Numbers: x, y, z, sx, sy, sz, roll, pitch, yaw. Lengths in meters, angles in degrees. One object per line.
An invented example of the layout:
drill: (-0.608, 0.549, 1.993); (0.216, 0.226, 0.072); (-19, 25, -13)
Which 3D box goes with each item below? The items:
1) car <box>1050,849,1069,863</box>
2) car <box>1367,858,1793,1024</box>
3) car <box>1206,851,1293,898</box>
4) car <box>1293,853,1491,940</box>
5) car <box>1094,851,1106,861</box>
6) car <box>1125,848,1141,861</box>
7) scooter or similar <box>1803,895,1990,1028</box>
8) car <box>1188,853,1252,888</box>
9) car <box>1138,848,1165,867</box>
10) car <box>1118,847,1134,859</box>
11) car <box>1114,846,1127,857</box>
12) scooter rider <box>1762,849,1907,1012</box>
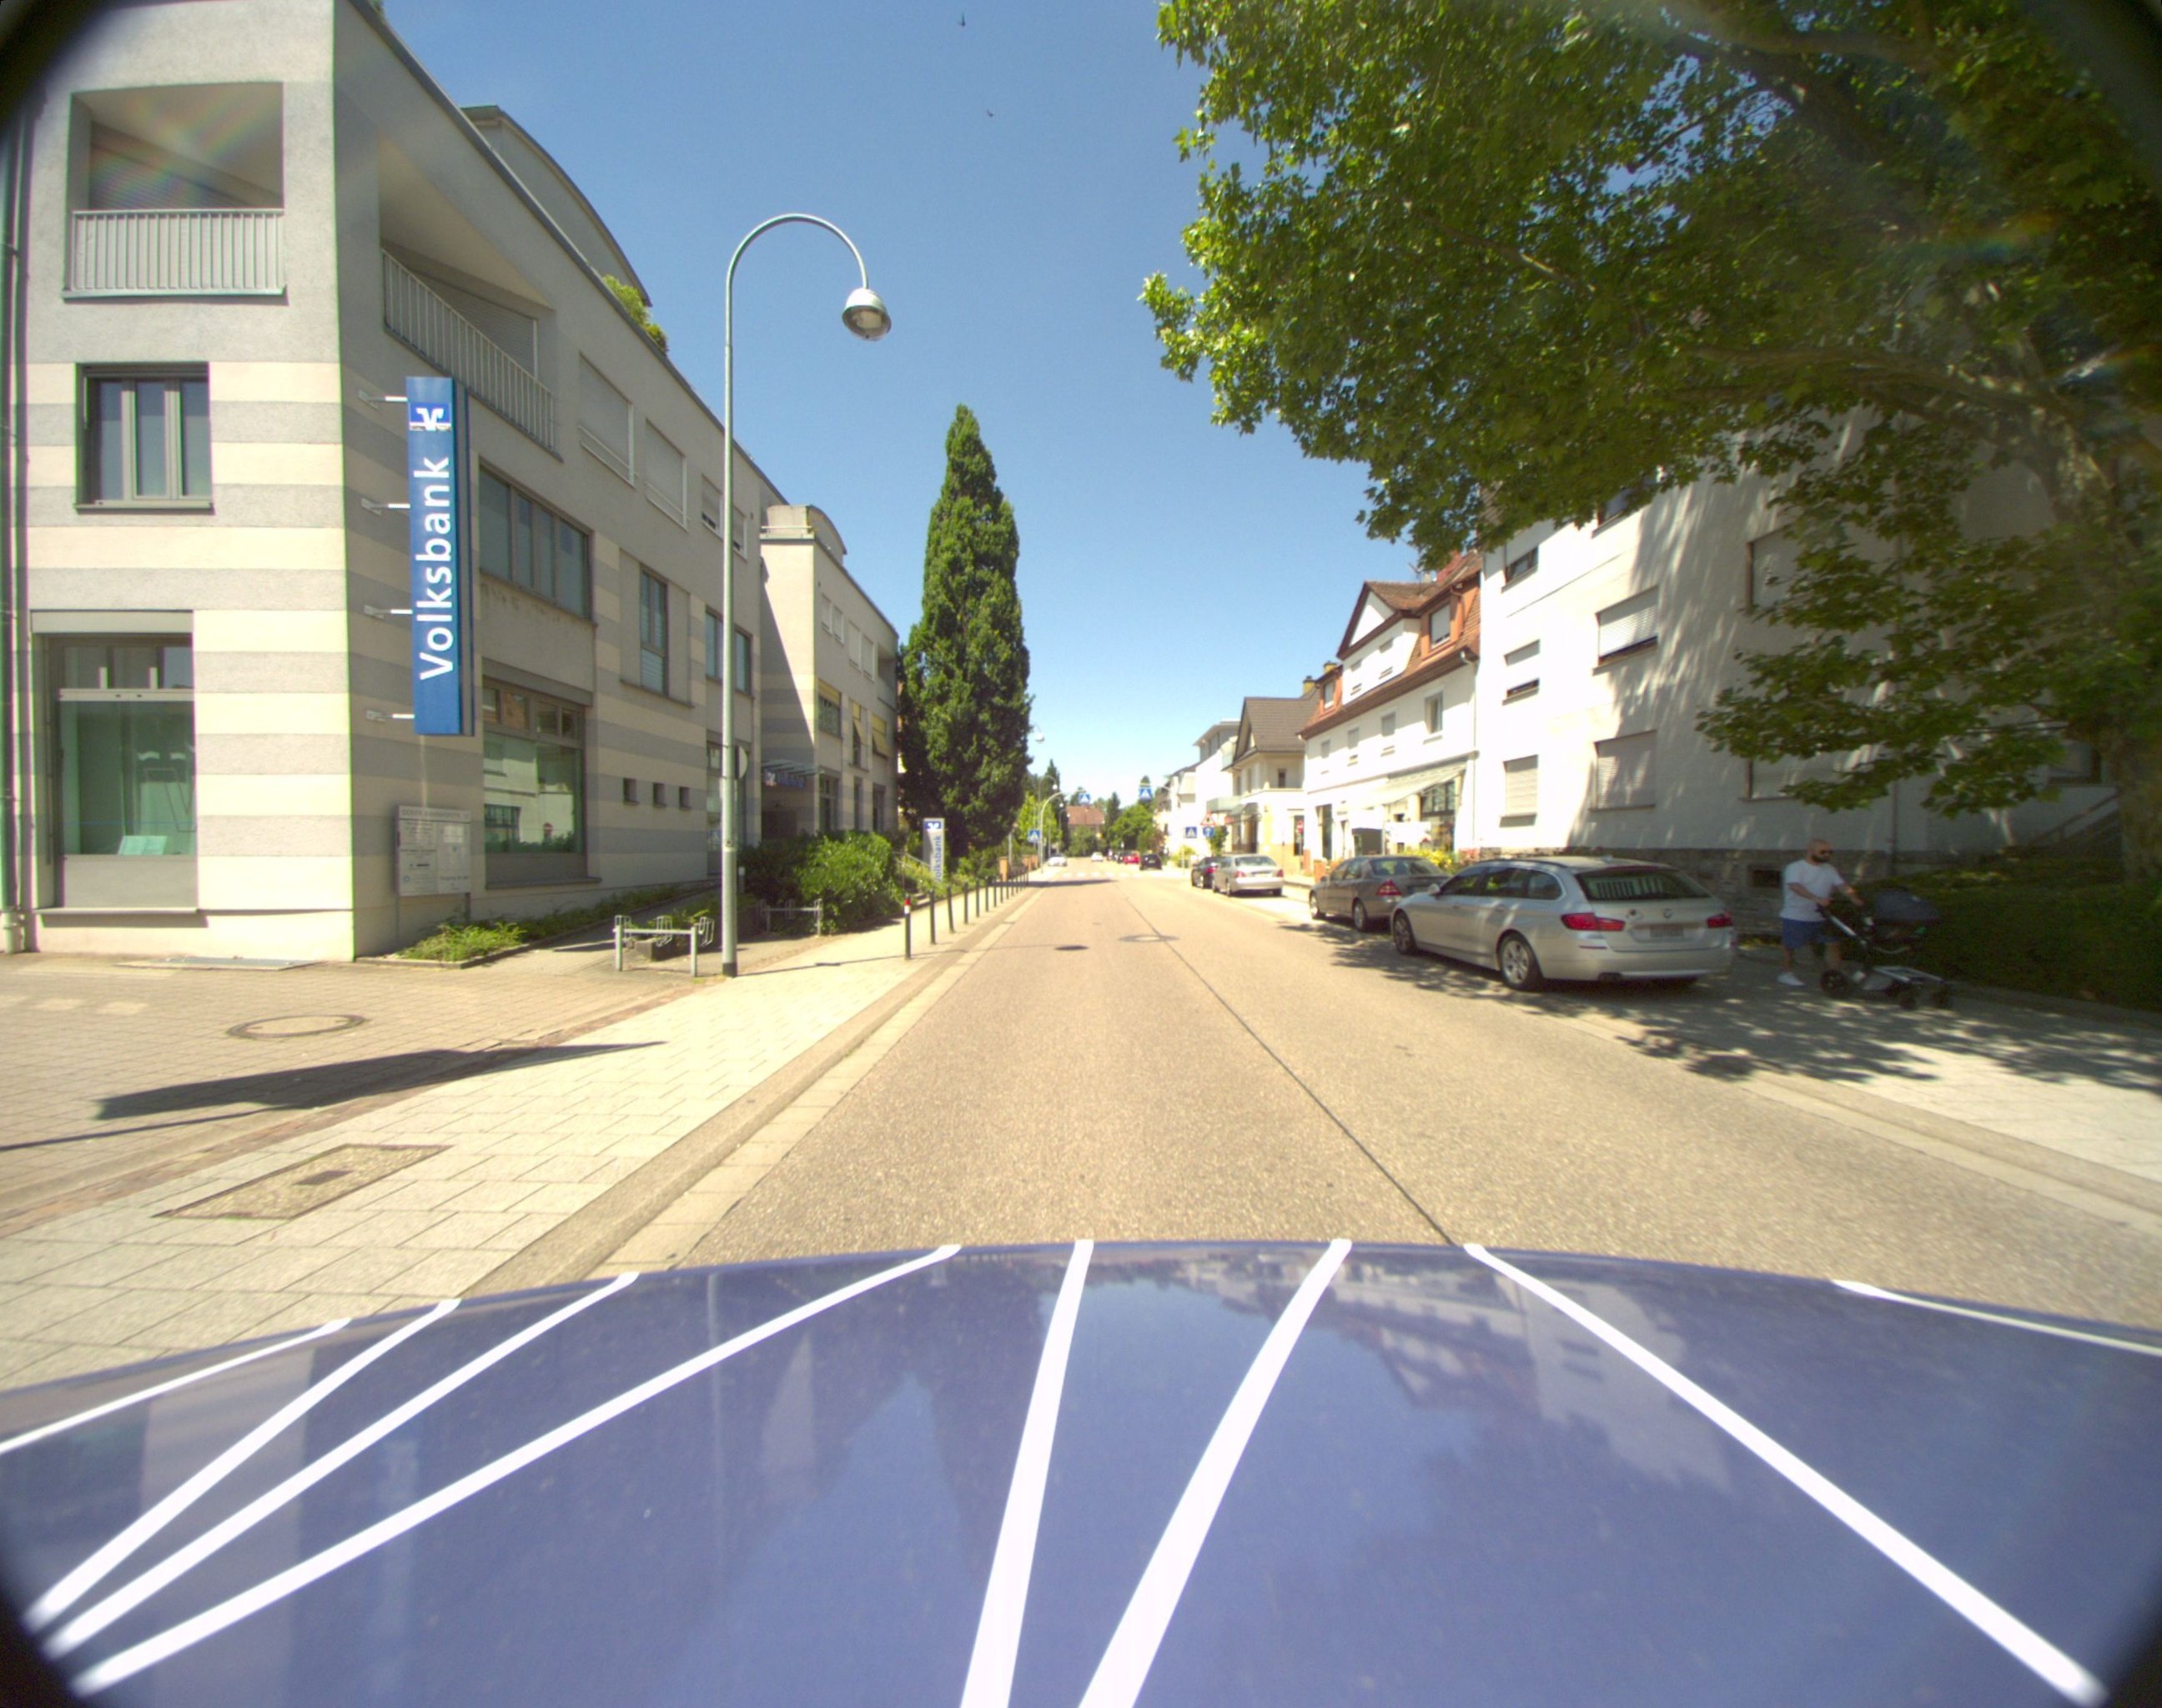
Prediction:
car: (-2.442, 0.202, 87.170); (1.920, 1.460, 4.879); (1, 1, 0)
car: (5.624, 0.820, 9.658); (1.986, 1.444, 5.149); (-1, 0, -1)
car: (5.907, 0.661, 27.273); (1.986, 1.444, 5.357); (-1, 0, 1)
car: (6.054, 0.727, 15.549); (1.986, 1.444, 4.867); (-1, 0, -1)
car: (3.120, 0.313, 124.456); (1.812, 1.474, 3.868); (1, 1, -1)
car: (6.439, 0.044, 94.596); (1.737, 1.444, 4.259); (-3, 1, 1)
scooter or similar: (7.690, 0.982, 7.225); (0.665, 1.092, 1.028); (-2, 1, 2)
car: (5.977, 0.663, 33.342); (1.947, 1.365, 5.097); (-1, 0, 1)
car: (6.182, 0.285, 67.072); (1.921, 1.444, 5.148); (-3, 1, 1)
car: (6.266, -0.133, 105.891); (1.925, 1.577, 4.435); (-3, 1, 1)
car: (6.500, -0.354, 125.796); (1.925, 1.681, 4.287); (-3, 1, 2)
scooter rider: (7.722, 0.748, 7.828); (0.590, 1.566, 0.877); (-2, 1, 2)
